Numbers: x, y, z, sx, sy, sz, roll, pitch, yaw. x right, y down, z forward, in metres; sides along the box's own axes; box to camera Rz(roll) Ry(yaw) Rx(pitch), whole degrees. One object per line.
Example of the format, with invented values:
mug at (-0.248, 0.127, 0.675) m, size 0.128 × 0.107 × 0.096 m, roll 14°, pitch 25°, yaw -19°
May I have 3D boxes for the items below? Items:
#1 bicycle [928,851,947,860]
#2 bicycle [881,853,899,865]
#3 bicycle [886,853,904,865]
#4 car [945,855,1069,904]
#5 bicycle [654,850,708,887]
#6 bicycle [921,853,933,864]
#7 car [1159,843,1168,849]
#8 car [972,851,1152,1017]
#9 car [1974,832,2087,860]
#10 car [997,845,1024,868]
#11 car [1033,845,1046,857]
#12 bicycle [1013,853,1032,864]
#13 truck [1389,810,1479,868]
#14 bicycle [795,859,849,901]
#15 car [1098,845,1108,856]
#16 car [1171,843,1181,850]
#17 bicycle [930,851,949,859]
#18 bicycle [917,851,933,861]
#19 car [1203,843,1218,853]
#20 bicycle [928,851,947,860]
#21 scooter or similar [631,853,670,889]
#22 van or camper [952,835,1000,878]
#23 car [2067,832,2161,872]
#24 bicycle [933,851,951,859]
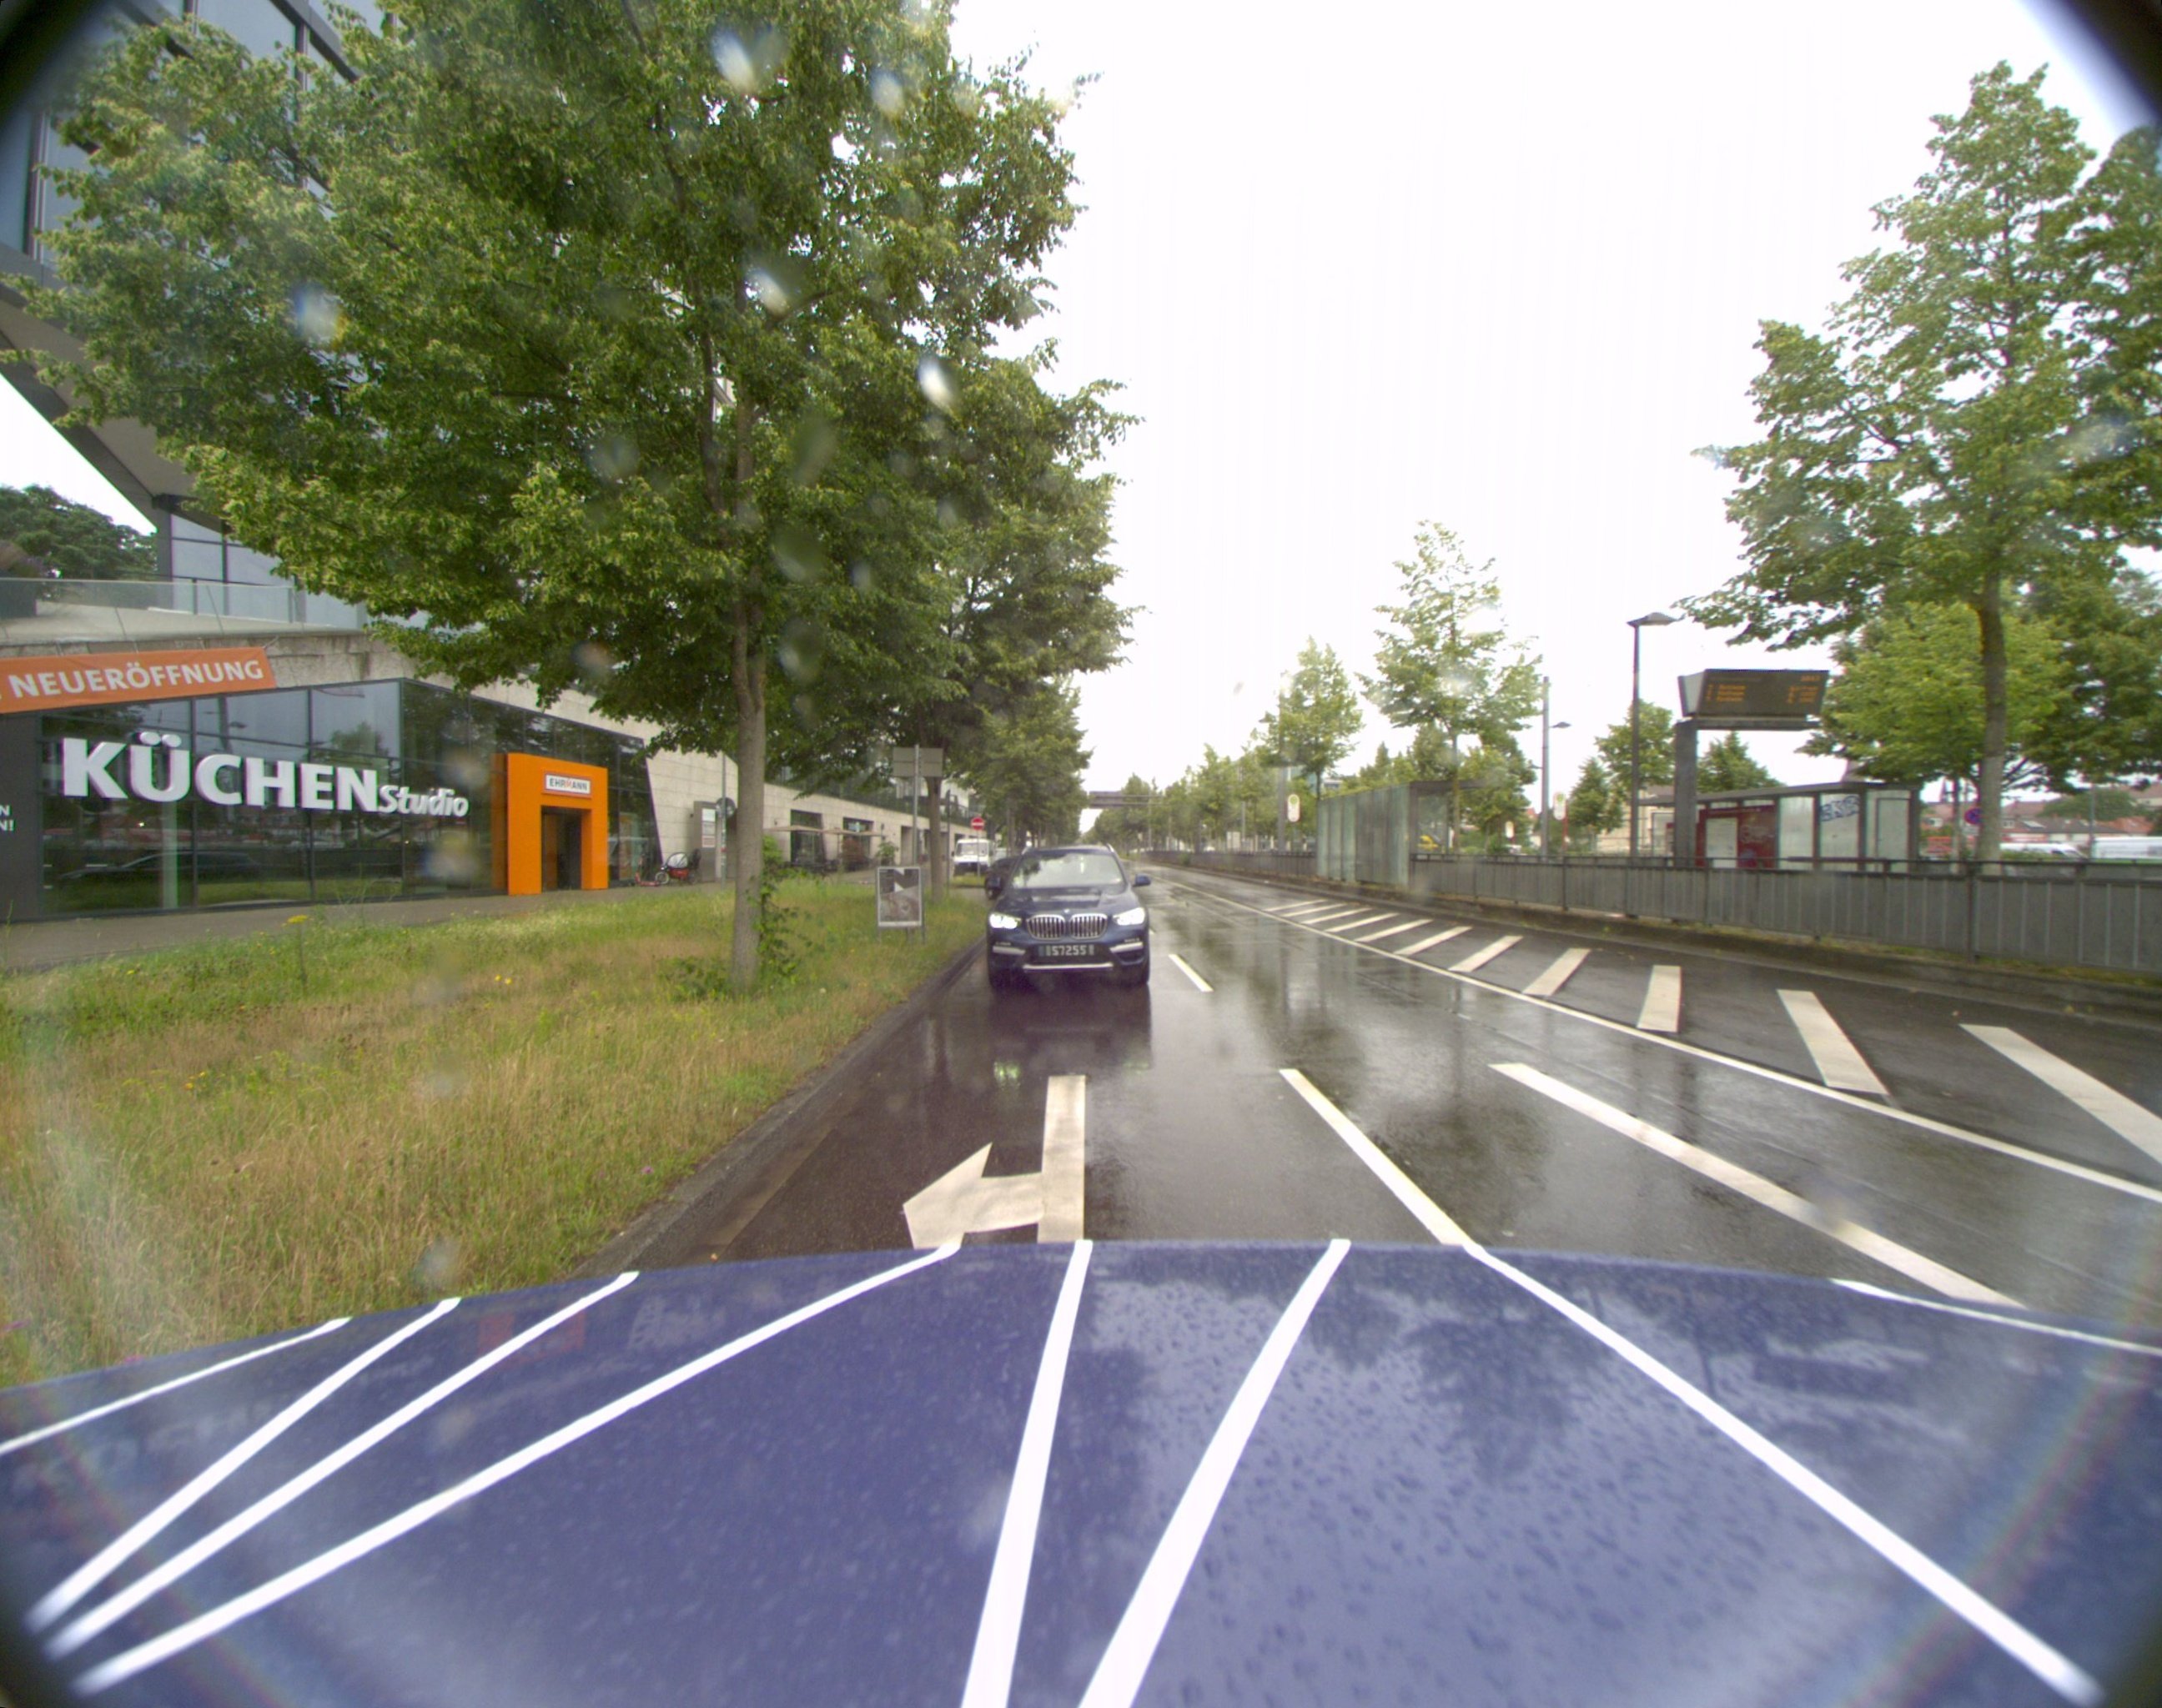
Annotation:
bicycle at (-15.815, 0.153, 83.537) m, size 2.029 × 0.940 × 0.395 m, roll 1°, pitch 1°, yaw -4°
bicycle at (-15.400, 0.403, 61.342) m, size 0.396 × 0.940 × 2.024 m, roll -4°, pitch 2°, yaw -45°
bicycle at (-15.145, 0.381, 61.953) m, size 0.396 × 0.940 × 2.024 m, roll -4°, pitch 2°, yaw -45°
car at (-2.528, 0.755, 24.974) m, size 1.836 × 1.412 × 4.333 m, roll -2°, pitch 1°, yaw -42°
bicycle at (-15.473, 0.537, 29.479) m, size 0.734 × 1.394 × 2.425 m, roll 1°, pitch 0°, yaw 1°
bicycle at (-13.092, 0.386, 64.708) m, size 0.402 × 0.940 × 1.859 m, roll -1°, pitch 1°, yaw 8°
car at (24.269, -2.406, 224.363) m, size 1.999 × 1.736 × 3.998 m, roll -2°, pitch 1°, yaw -2°
car at (-0.172, 0.837, 9.945) m, size 1.816 × 1.603 × 3.999 m, roll -2°, pitch 1°, yaw 1°
car at (84.243, -0.737, 67.573) m, size 2.000 × 2.293 × 6.138 m, roll -3°, pitch 1°, yaw -9°
car at (-5.752, 0.167, 62.236) m, size 1.746 × 1.749 × 4.847 m, roll -1°, pitch 1°, yaw 0°
car at (-6.040, -0.440, 111.471) m, size 1.659 × 1.711 × 3.999 m, roll -2°, pitch 1°, yaw 0°
bicycle at (-5.795, 0.447, 74.929) m, size 1.862 × 0.940 × 0.395 m, roll -2°, pitch 2°, yaw -4°
truck at (25.109, -1.095, 54.633) m, size 2.693 × 3.756 × 9.183 m, roll -2°, pitch 1°, yaw 4°
bicycle at (-8.610, 0.864, 25.275) m, size 1.843 × 1.338 × 0.533 m, roll -1°, pitch 0°, yaw 26°
car at (4.717, -0.710, 163.871) m, size 1.998 × 2.232 × 3.999 m, roll -2°, pitch 1°, yaw 1°
car at (24.512, -1.874, 196.206) m, size 1.999 × 1.736 × 3.998 m, roll -2°, pitch 1°, yaw -2°
bicycle at (-15.868, 0.120, 85.412) m, size 2.029 × 0.940 × 0.395 m, roll 1°, pitch 1°, yaw -4°
bicycle at (-16.366, 0.205, 79.693) m, size 1.657 × 0.940 × 0.347 m, roll 1°, pitch 2°, yaw 19°
car at (25.287, -1.174, 148.349) m, size 1.999 × 1.736 × 3.998 m, roll -2°, pitch 1°, yaw -2°
bicycle at (-15.856, 0.146, 84.237) m, size 2.029 × 0.940 × 0.395 m, roll 1°, pitch 1°, yaw -4°
scooter or similar at (-15.624, 0.602, 27.592) m, size 0.342 × 1.221 × 1.242 m, roll -2°, pitch 2°, yaw 19°
van or camper at (-5.891, 0.104, 43.312) m, size 2.030 × 2.279 × 5.458 m, roll -1°, pitch 1°, yaw 0°
car at (70.017, -0.156, 49.736) m, size 1.999 × 2.448 × 6.744 m, roll -2°, pitch 1°, yaw -4°
bicycle at (-15.854, 0.112, 86.665) m, size 2.029 × 0.940 × 0.395 m, roll 1°, pitch 1°, yaw -4°
